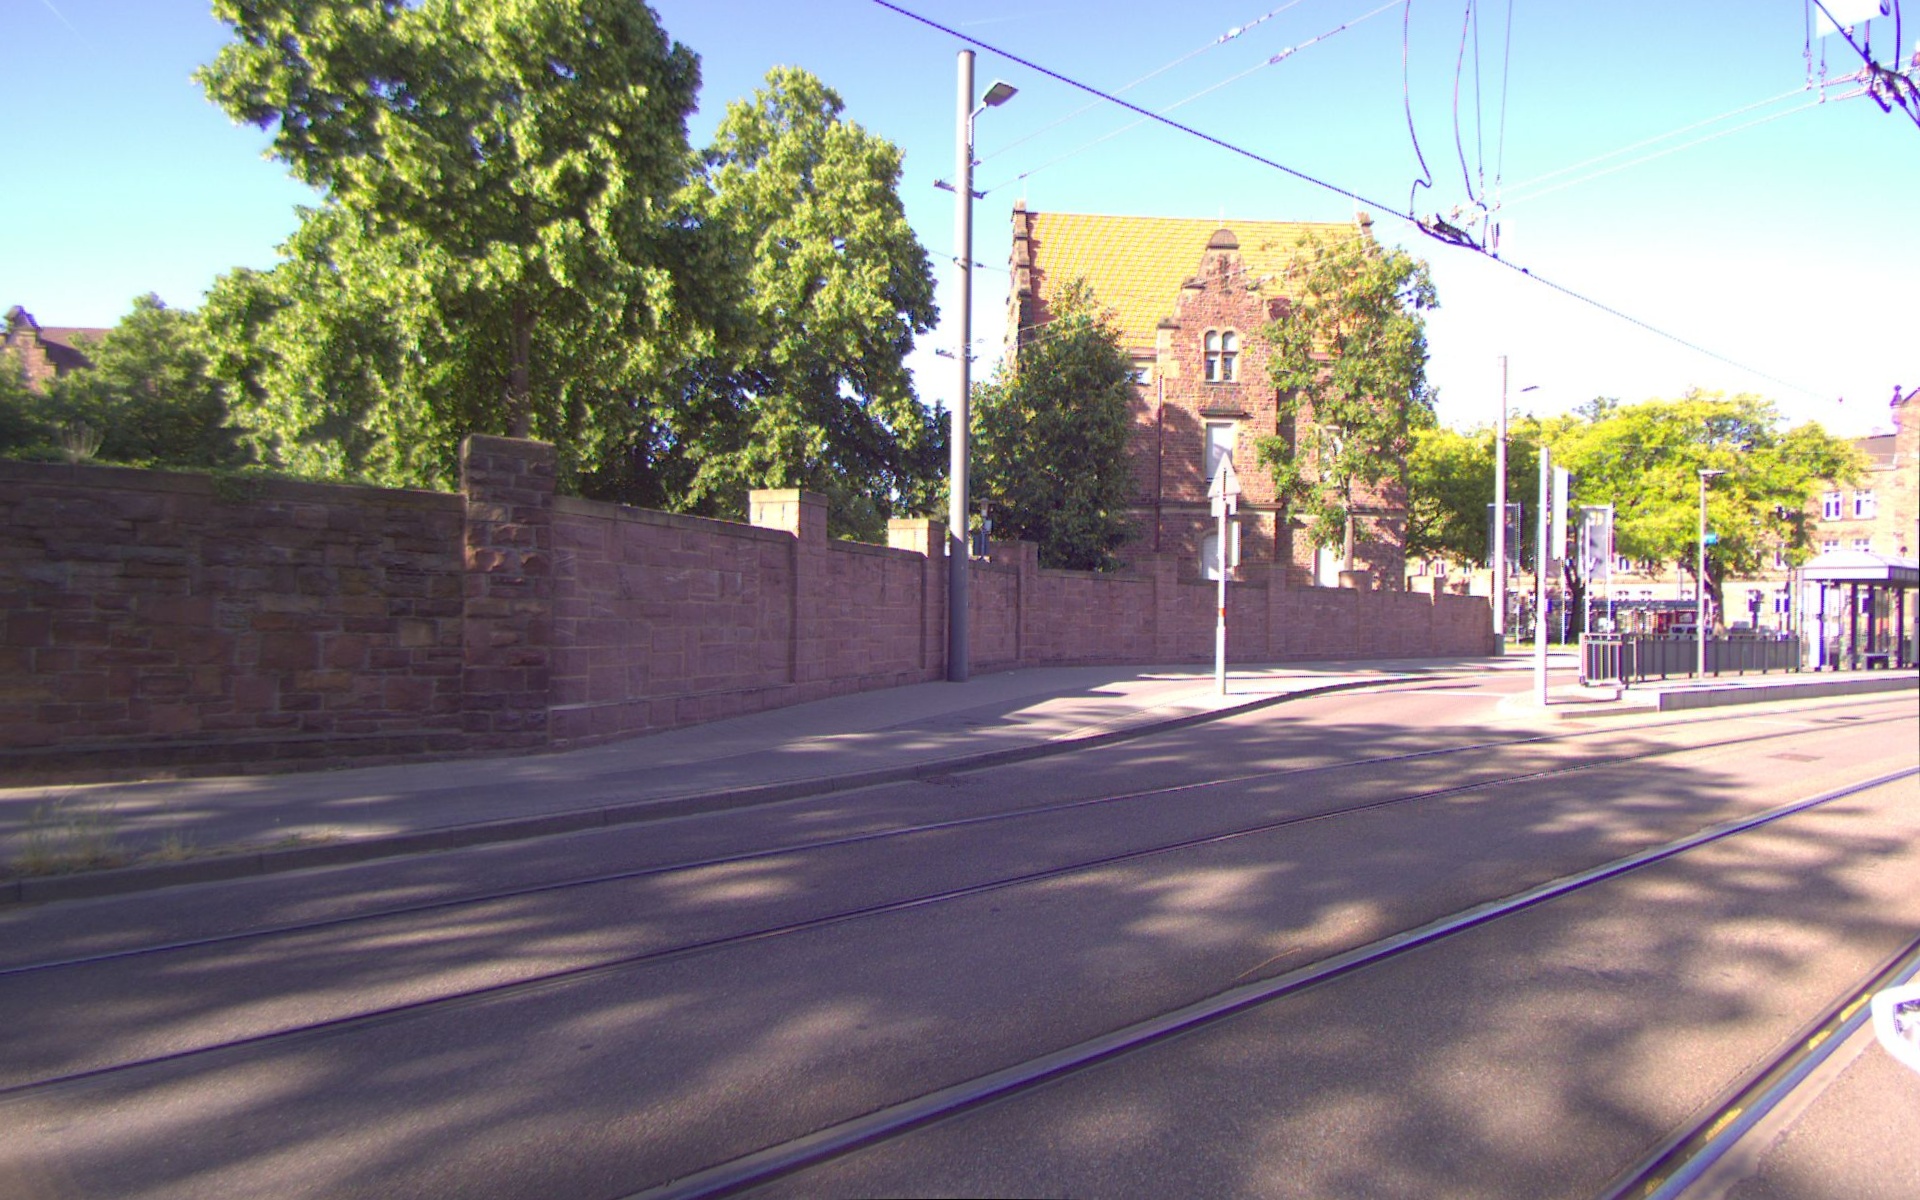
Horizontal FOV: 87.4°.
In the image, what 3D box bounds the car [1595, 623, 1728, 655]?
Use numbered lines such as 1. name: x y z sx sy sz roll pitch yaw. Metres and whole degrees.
1. car: 47.916 2.596 68.797 2.957 1.946 6.915 1 -1 -30
